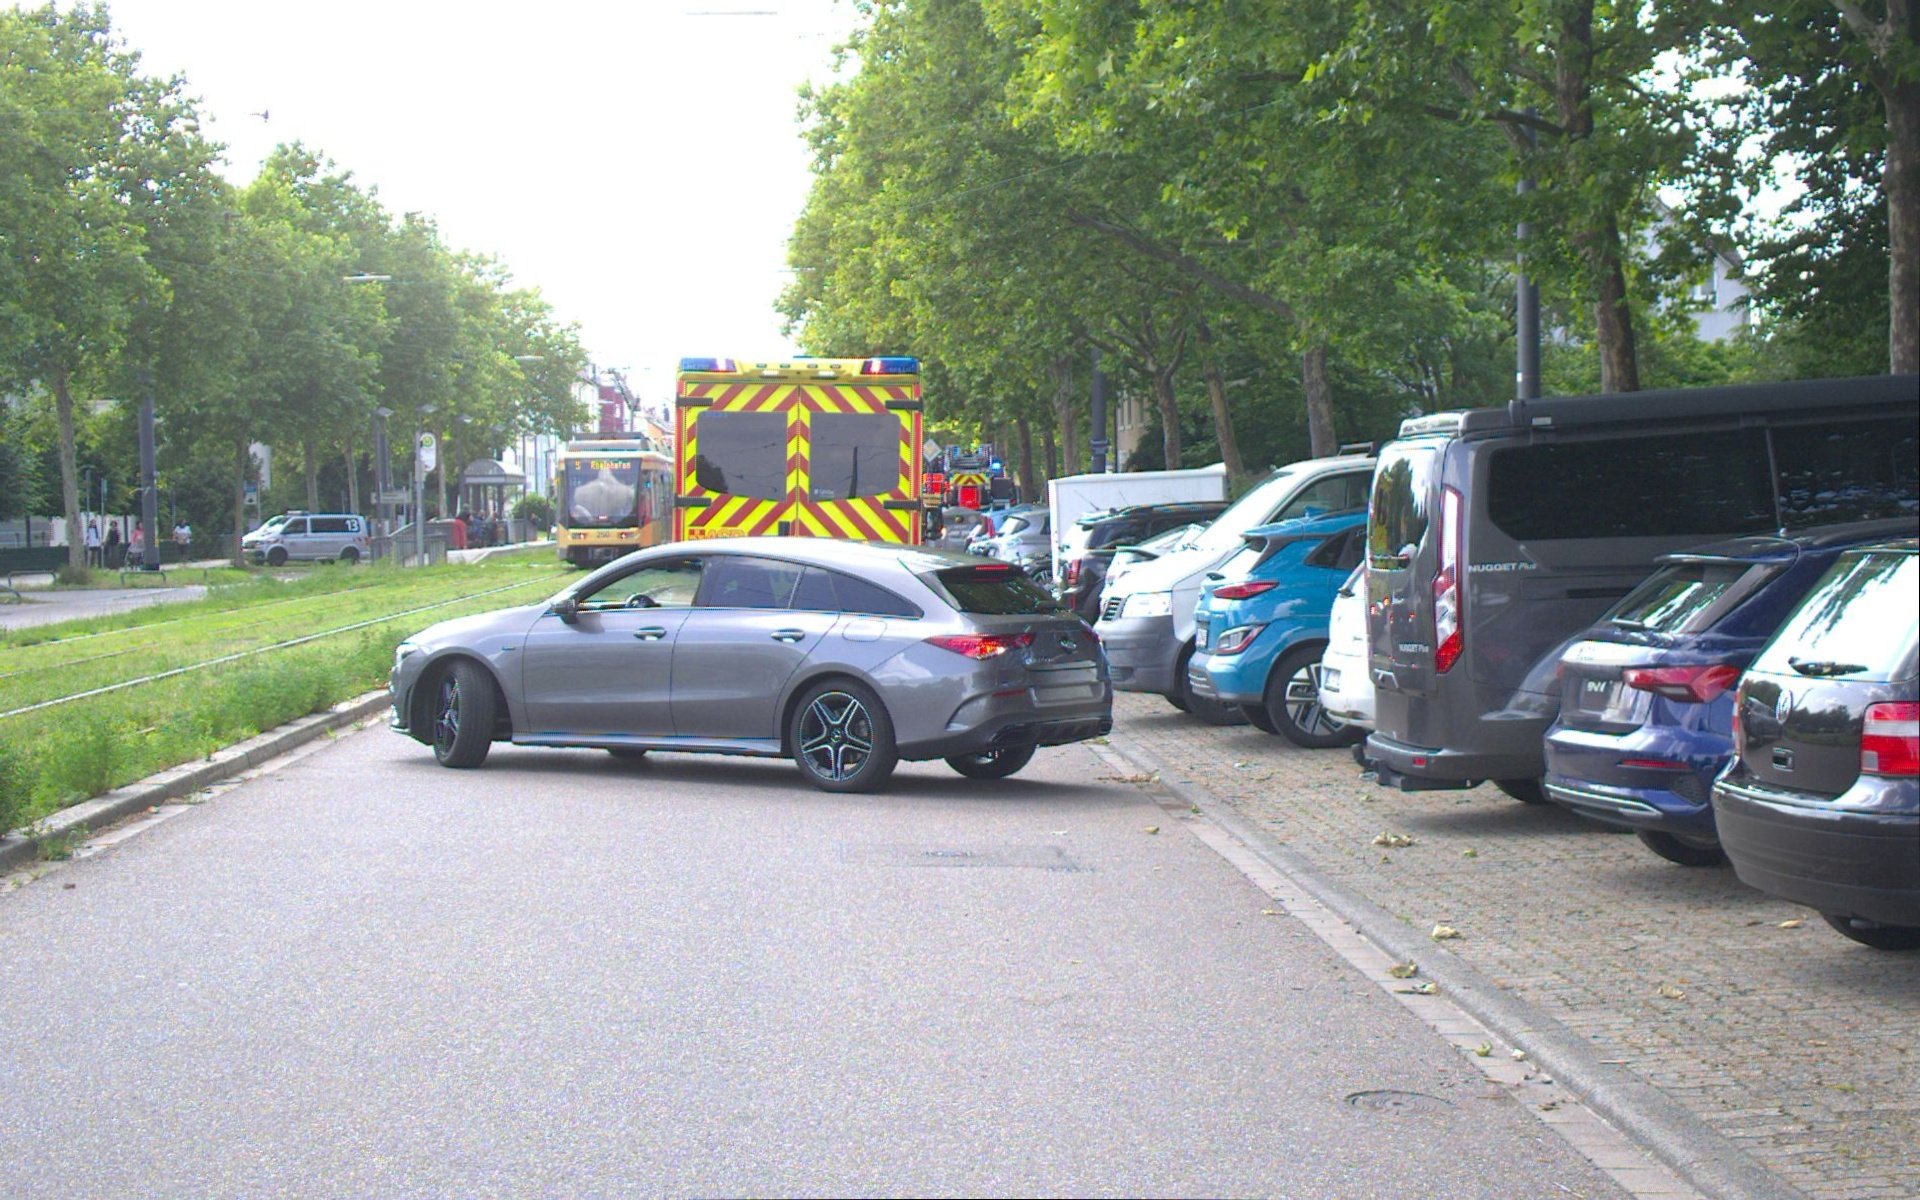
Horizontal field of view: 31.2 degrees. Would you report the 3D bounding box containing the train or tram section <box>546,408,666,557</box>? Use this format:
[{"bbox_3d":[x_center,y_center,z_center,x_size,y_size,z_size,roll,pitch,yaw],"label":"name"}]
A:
[{"bbox_3d":[-9.070,-2.952,88.711,2.511,3.572,7.446,-2,1,-2],"label":"train or tram section"}]

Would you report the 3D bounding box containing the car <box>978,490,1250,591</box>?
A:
[{"bbox_3d":[2.692,-1.057,60.720,4.545,1.603,1.856,-2,1,-6],"label":"car"}]

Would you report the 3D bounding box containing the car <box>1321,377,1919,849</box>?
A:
[{"bbox_3d":[4.208,0.003,16.965,4.545,2.116,1.856,-2,1,-2],"label":"car"}]

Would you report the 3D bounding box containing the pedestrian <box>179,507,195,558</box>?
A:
[{"bbox_3d":[-27.429,-2.402,121.982,0.466,1.822,0.423,-1,1,-4],"label":"pedestrian"}]

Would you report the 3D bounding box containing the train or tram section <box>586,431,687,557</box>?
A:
[{"bbox_3d":[-9.696,-3.136,103.578,2.511,3.572,7.446,-2,1,-2],"label":"train or tram section"}]

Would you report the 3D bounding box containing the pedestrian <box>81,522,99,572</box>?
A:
[{"bbox_3d":[-25.982,-1.577,102.627,0.421,1.468,0.467,-1,1,-6],"label":"pedestrian"}]

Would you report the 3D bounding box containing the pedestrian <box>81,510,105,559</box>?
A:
[{"bbox_3d":[-28.087,-2.123,111.385,0.632,1.545,0.622,-1,1,-5],"label":"pedestrian"}]

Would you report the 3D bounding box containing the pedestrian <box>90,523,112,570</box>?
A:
[{"bbox_3d":[-26.117,-1.632,104.471,0.422,1.409,0.467,0,2,23],"label":"pedestrian"}]

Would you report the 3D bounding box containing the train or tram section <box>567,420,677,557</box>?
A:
[{"bbox_3d":[-9.387,-3.044,96.138,2.511,3.572,7.446,-2,1,-2],"label":"train or tram section"}]

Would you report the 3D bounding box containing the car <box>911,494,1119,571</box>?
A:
[{"bbox_3d":[1.245,-1.550,78.770,4.545,1.603,1.856,-2,1,-6],"label":"car"}]

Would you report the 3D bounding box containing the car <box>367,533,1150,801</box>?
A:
[{"bbox_3d":[-1.256,0.334,20.629,4.461,1.381,1.763,2,2,31],"label":"car"}]

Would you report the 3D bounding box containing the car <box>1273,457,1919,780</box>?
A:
[{"bbox_3d":[4.311,0.067,20.906,4.545,1.760,1.856,-2,1,-2],"label":"car"}]

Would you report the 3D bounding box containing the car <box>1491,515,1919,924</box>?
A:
[{"bbox_3d":[4.298,0.391,13.834,3.965,1.489,1.756,-2,1,-2],"label":"car"}]

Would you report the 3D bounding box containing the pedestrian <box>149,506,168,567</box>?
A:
[{"bbox_3d":[-23.004,-1.826,98.666,0.421,1.724,0.467,-1,1,-6],"label":"pedestrian"}]

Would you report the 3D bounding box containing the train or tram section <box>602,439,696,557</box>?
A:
[{"bbox_3d":[-9.998,-3.228,111.015,2.511,3.572,7.446,-2,1,-2],"label":"train or tram section"}]

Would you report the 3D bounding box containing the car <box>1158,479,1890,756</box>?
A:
[{"bbox_3d":[3.771,0.083,23.426,4.545,1.654,1.856,-2,1,-6],"label":"car"}]

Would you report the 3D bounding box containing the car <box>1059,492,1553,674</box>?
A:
[{"bbox_3d":[3.373,-0.194,34.020,4.545,1.603,1.856,-2,1,-6],"label":"car"}]

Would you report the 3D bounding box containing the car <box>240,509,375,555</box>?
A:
[{"bbox_3d":[-24.463,-2.557,128.940,4.615,1.627,1.882,-2,2,-41],"label":"car"}]

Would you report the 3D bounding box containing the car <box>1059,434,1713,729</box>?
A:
[{"bbox_3d":[3.148,-0.165,25.943,4.545,1.994,1.856,-2,1,-6],"label":"car"}]

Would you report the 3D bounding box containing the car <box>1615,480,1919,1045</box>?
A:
[{"bbox_3d":[4.328,0.375,11.016,3.964,1.600,1.757,-2,1,-12],"label":"car"}]

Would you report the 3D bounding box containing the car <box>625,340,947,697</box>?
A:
[{"bbox_3d":[-1.510,-0.761,32.430,2.641,2.956,6.300,2,1,-1],"label":"car"}]

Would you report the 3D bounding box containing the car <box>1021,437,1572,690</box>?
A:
[{"bbox_3d":[2.933,-0.344,30.531,4.545,2.036,1.856,-2,1,-6],"label":"car"}]

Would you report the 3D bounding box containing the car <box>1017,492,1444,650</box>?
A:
[{"bbox_3d":[3.036,-0.348,39.169,4.545,1.603,1.856,-2,1,-6],"label":"car"}]

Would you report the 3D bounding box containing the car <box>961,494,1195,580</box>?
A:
[{"bbox_3d":[2.394,-1.304,70.565,4.545,1.603,1.856,-2,1,-6],"label":"car"}]
